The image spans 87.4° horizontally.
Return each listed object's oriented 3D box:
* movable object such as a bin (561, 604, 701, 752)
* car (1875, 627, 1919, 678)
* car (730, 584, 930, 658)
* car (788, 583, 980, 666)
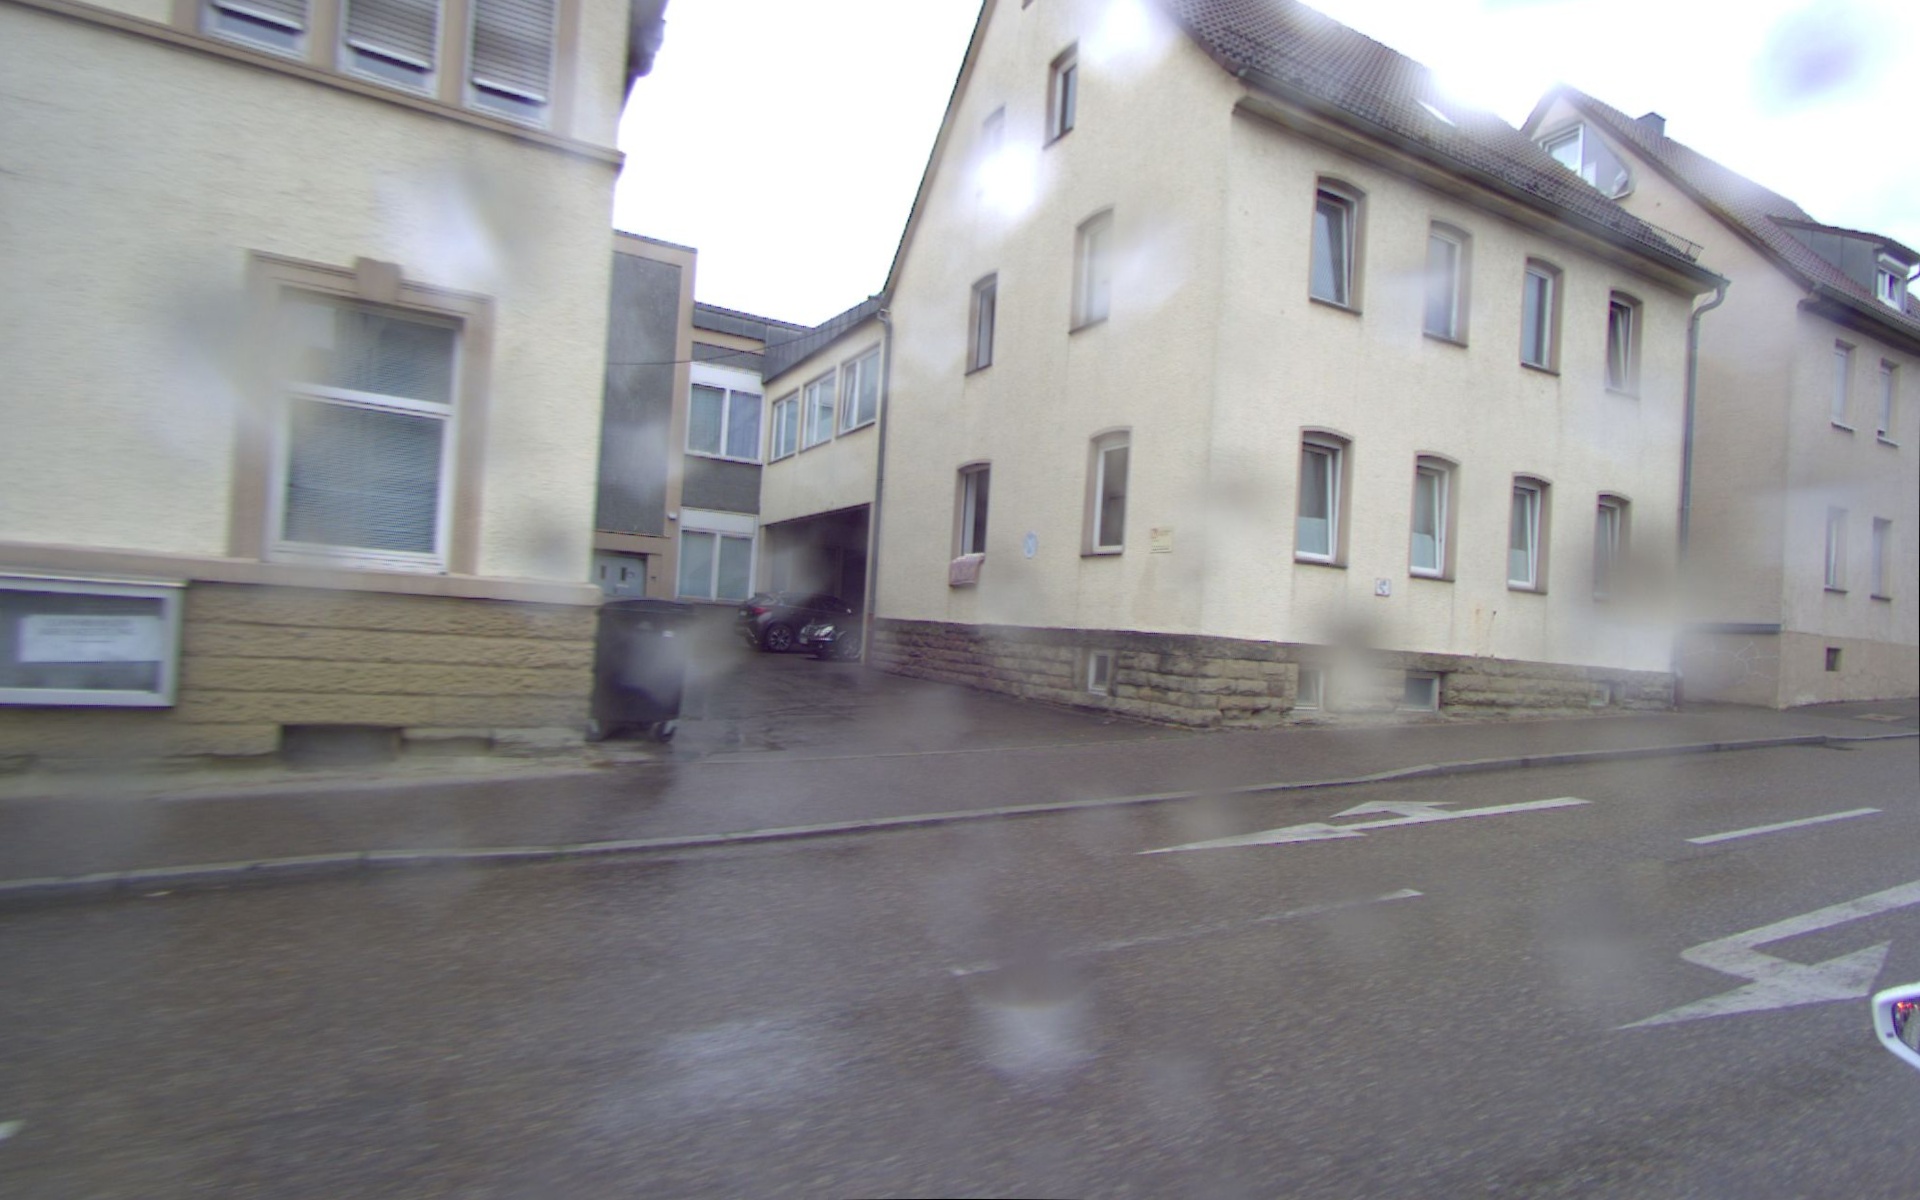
[{"bbox_3d":[-3.167,0.697,9.606,1.038,1.283,1.274,1,0,-29],"label":"movable object such as a bin"},{"bbox_3d":[28.505,1.515,29.080,3.834,1.385,1.763,1,1,-28],"label":"car"},{"bbox_3d":[-3.325,0.560,25.888,4.738,1.756,1.984,1,-2,-30],"label":"car"},{"bbox_3d":[-1.731,0.572,23.150,3.955,1.756,1.983,1,-2,-32],"label":"car"}]
